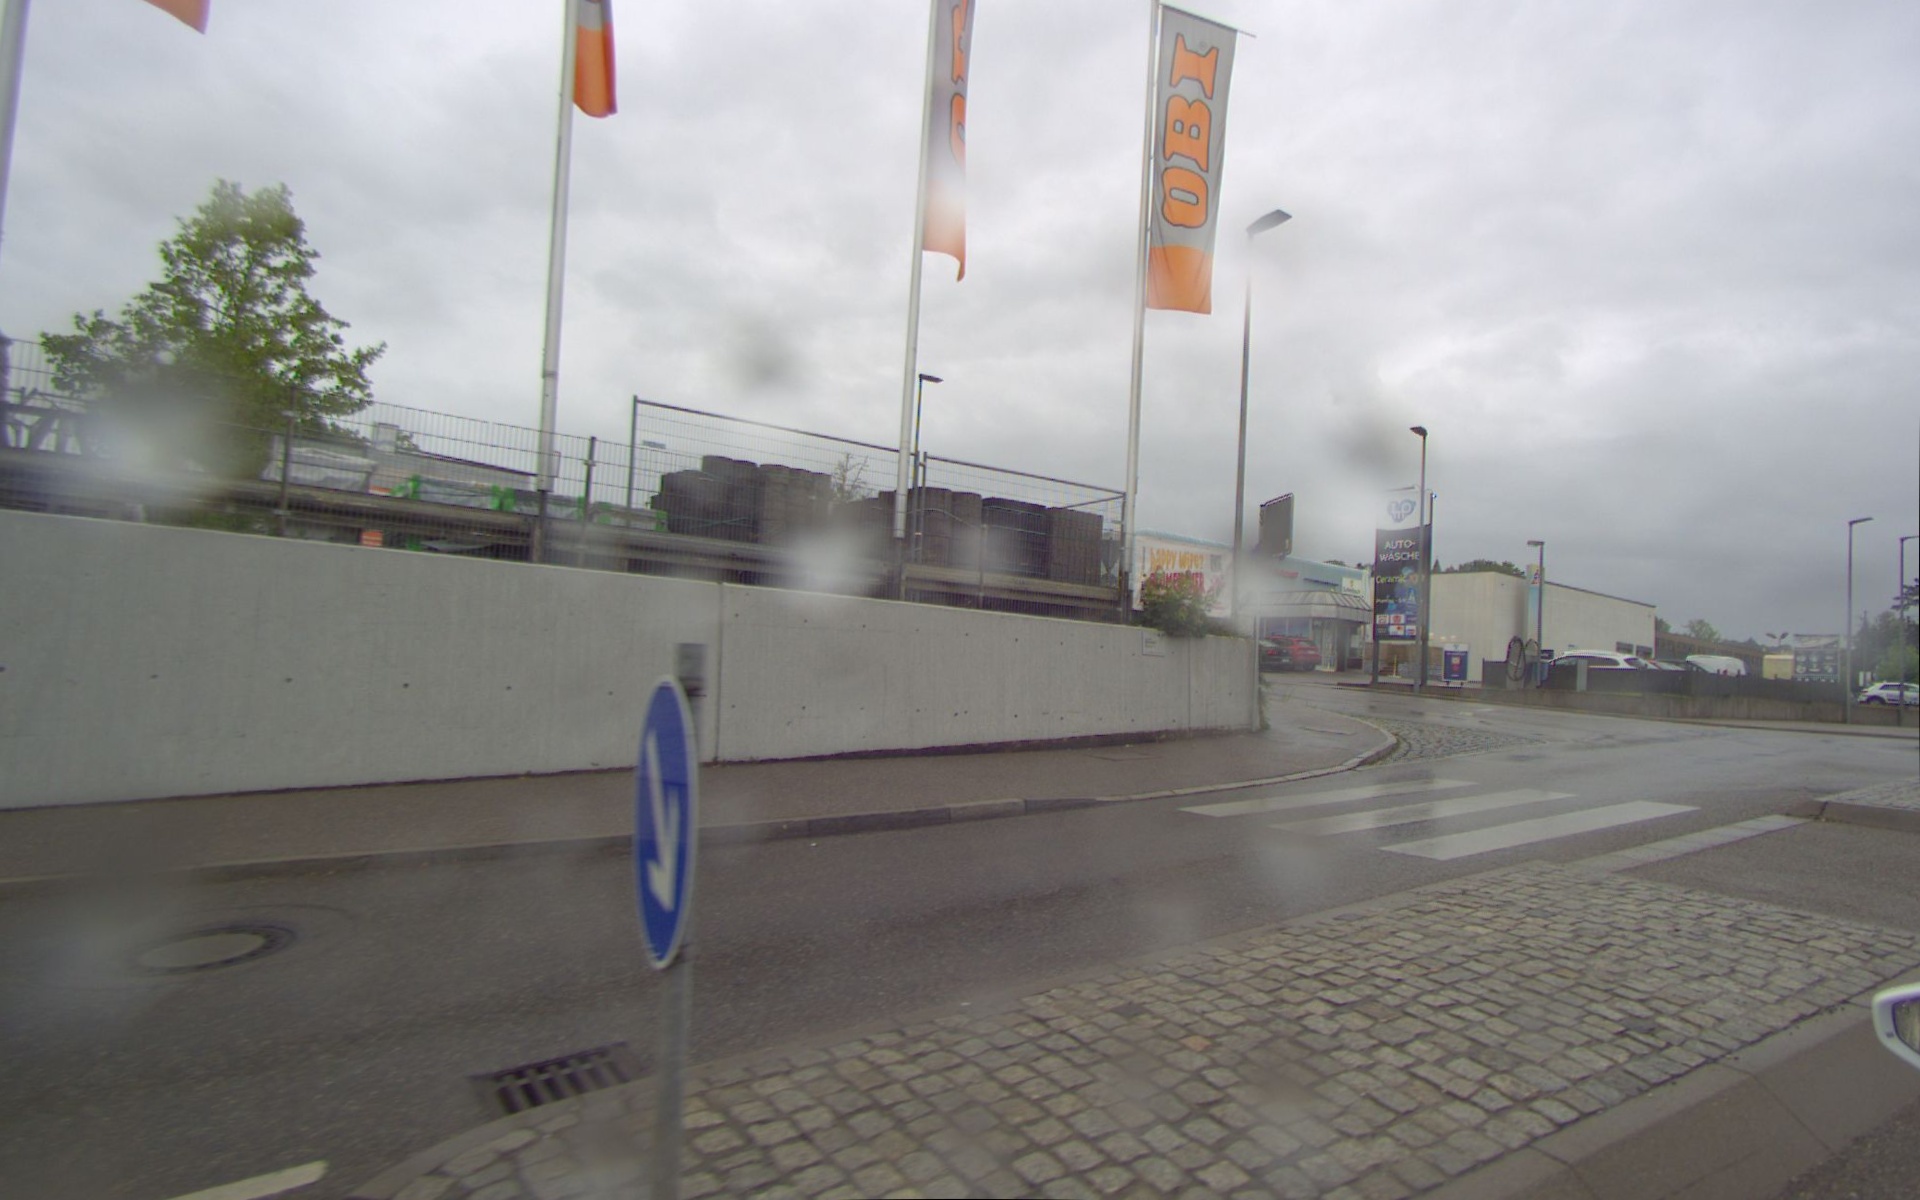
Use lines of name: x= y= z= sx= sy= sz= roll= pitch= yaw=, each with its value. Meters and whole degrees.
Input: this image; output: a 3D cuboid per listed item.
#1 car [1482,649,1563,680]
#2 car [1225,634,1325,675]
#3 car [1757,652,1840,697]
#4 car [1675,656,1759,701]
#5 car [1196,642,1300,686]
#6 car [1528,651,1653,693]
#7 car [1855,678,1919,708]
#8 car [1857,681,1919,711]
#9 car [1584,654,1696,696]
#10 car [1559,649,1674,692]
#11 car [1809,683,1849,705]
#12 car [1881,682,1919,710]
car: x=29.899 y=3.400 z=53.458 sx=1.415 sy=1.439 sz=3.507 roll=2 pitch=-1 yaw=-35
car: x=14.616 y=2.517 z=46.752 sx=1.987 sy=1.638 sz=3.950 roll=7 pitch=-4 yaw=-42
car: x=41.400 y=3.651 z=49.562 sx=4.951 sy=2.040 sz=1.980 roll=2 pitch=-2 yaw=-35
car: x=37.260 y=3.791 z=49.393 sx=4.953 sy=2.040 sz=1.980 roll=2 pitch=-2 yaw=-36
car: x=12.865 y=2.849 z=45.007 sx=1.987 sy=1.638 sz=3.950 roll=7 pitch=-4 yaw=-42
car: x=23.709 y=2.683 z=37.868 sx=1.981 sy=1.302 sz=3.507 roll=6 pitch=-4 yaw=-35
car: x=51.202 y=5.086 z=54.247 sx=1.754 sy=1.438 sz=3.991 roll=6 pitch=-4 yaw=-38
car: x=52.550 y=5.385 z=55.635 sx=1.752 sy=1.438 sz=3.995 roll=6 pitch=-4 yaw=-35
car: x=27.581 y=3.023 z=40.831 sx=1.416 sy=1.438 sz=3.507 roll=6 pitch=-4 yaw=-35
car: x=25.638 y=2.741 z=39.312 sx=1.416 sy=1.438 sz=3.507 roll=6 pitch=-4 yaw=-35
car: x=54.213 y=5.843 z=62.660 sx=2.679 sy=1.213 sz=1.288 roll=2 pitch=-2 yaw=-35
car: x=54.602 y=5.475 z=56.361 sx=1.752 sy=1.438 sz=3.995 roll=6 pitch=-4 yaw=-35
